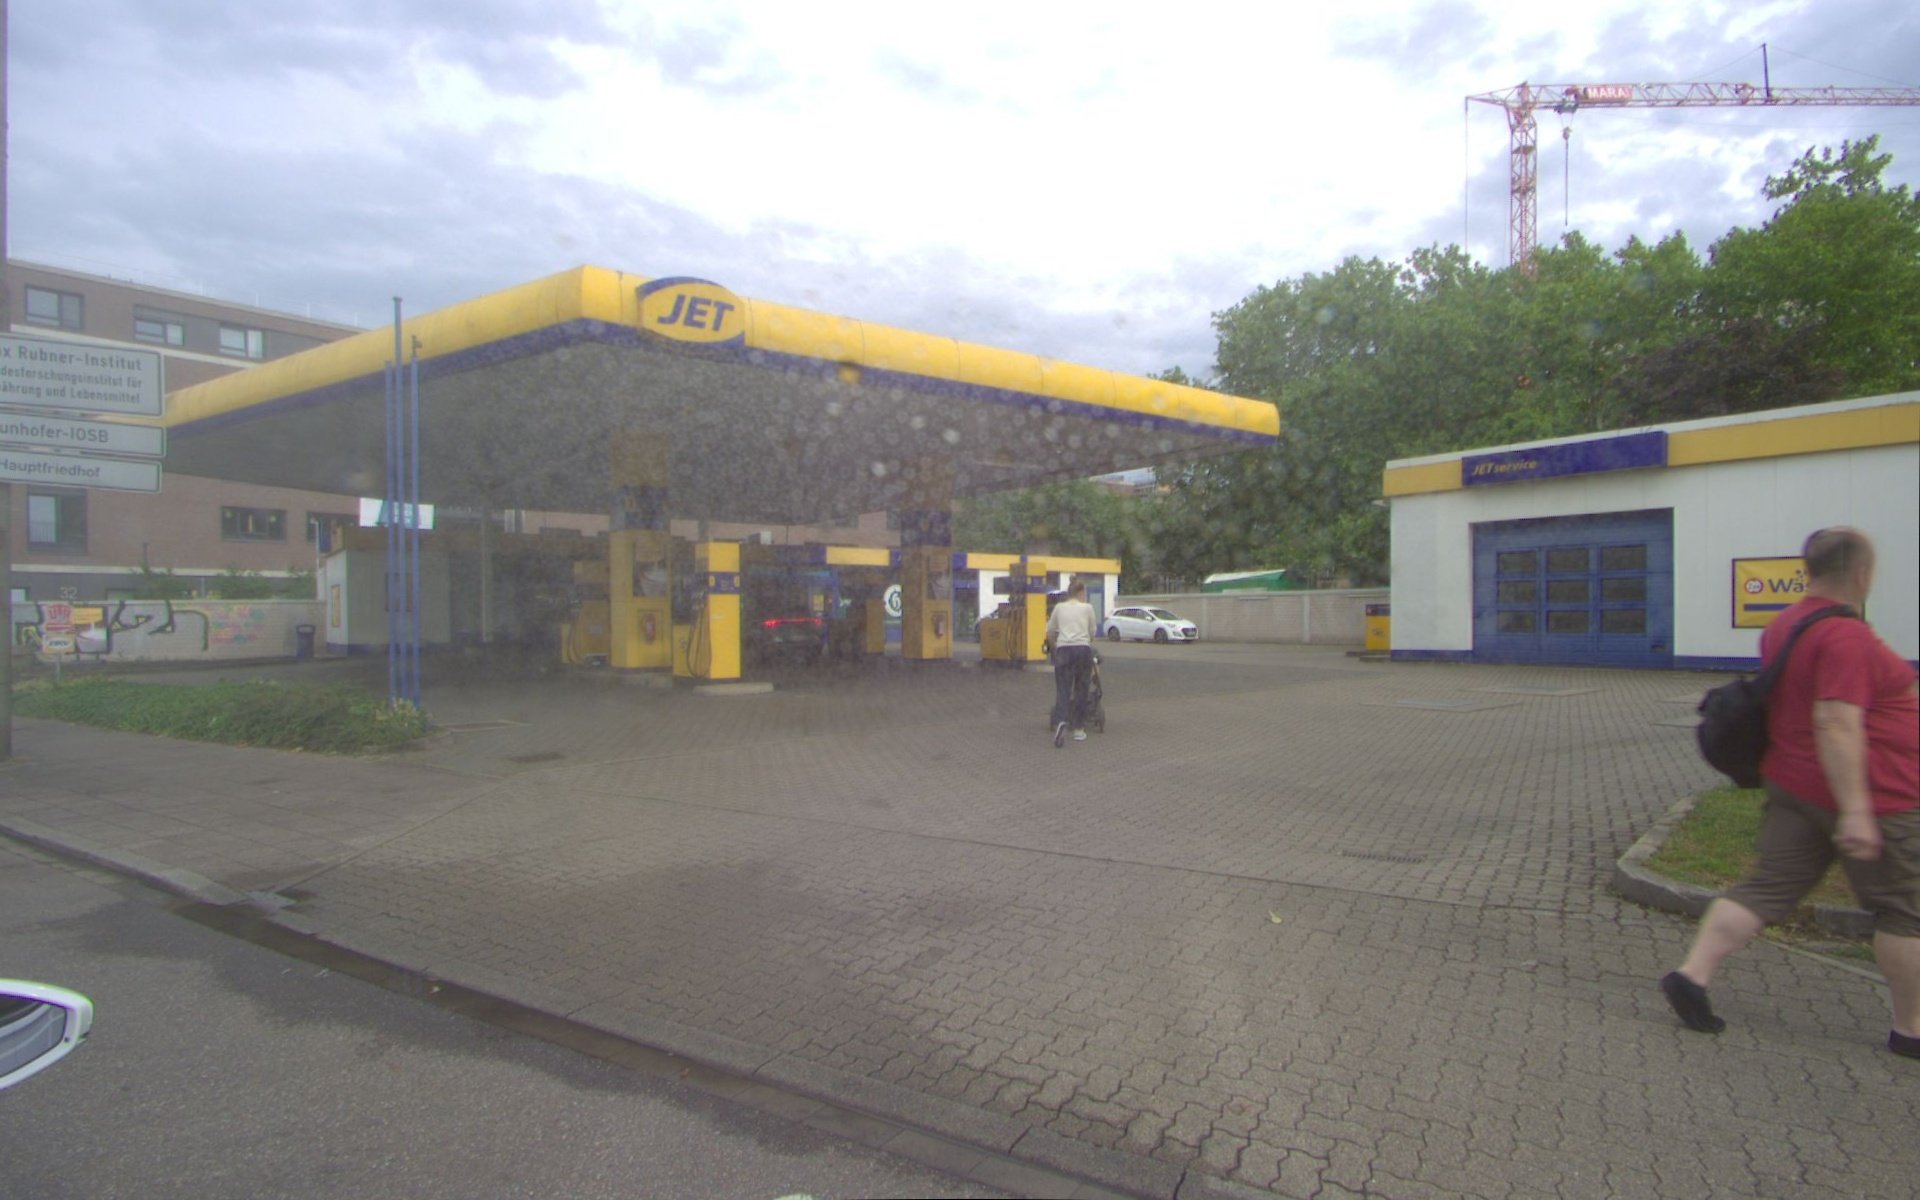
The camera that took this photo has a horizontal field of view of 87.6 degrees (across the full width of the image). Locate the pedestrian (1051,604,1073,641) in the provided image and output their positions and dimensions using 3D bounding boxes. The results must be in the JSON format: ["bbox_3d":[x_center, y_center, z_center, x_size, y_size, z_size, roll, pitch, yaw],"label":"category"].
[{"bbox_3d":[3.723,0.829,36.539,0.573,1.364,0.607,1,-2,-38],"label":"pedestrian"}]

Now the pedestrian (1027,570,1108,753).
[{"bbox_3d":[1.158,0.600,10.588,0.756,1.821,1.161,0,2,11],"label":"pedestrian"}]

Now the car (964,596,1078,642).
[{"bbox_3d":[2.285,0.769,38.466,1.821,1.658,4.440,2,-3,-42],"label":"car"}]

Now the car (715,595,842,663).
[{"bbox_3d":[-4.638,0.645,25.081,1.966,1.517,4.306,-1,1,-27],"label":"car"}]

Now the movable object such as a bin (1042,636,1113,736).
[{"bbox_3d":[1.385,0.974,11.678,0.756,1.053,1.023,0,2,11],"label":"movable object such as a bin"}]

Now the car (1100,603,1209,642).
[{"bbox_3d":[8.092,0.992,41.899,1.915,1.546,4.302,2,-3,-38],"label":"car"}]

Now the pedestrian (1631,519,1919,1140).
[{"bbox_3d":[2.905,0.642,3.274,0.845,1.762,0.974,-2,1,11],"label":"pedestrian"}]
